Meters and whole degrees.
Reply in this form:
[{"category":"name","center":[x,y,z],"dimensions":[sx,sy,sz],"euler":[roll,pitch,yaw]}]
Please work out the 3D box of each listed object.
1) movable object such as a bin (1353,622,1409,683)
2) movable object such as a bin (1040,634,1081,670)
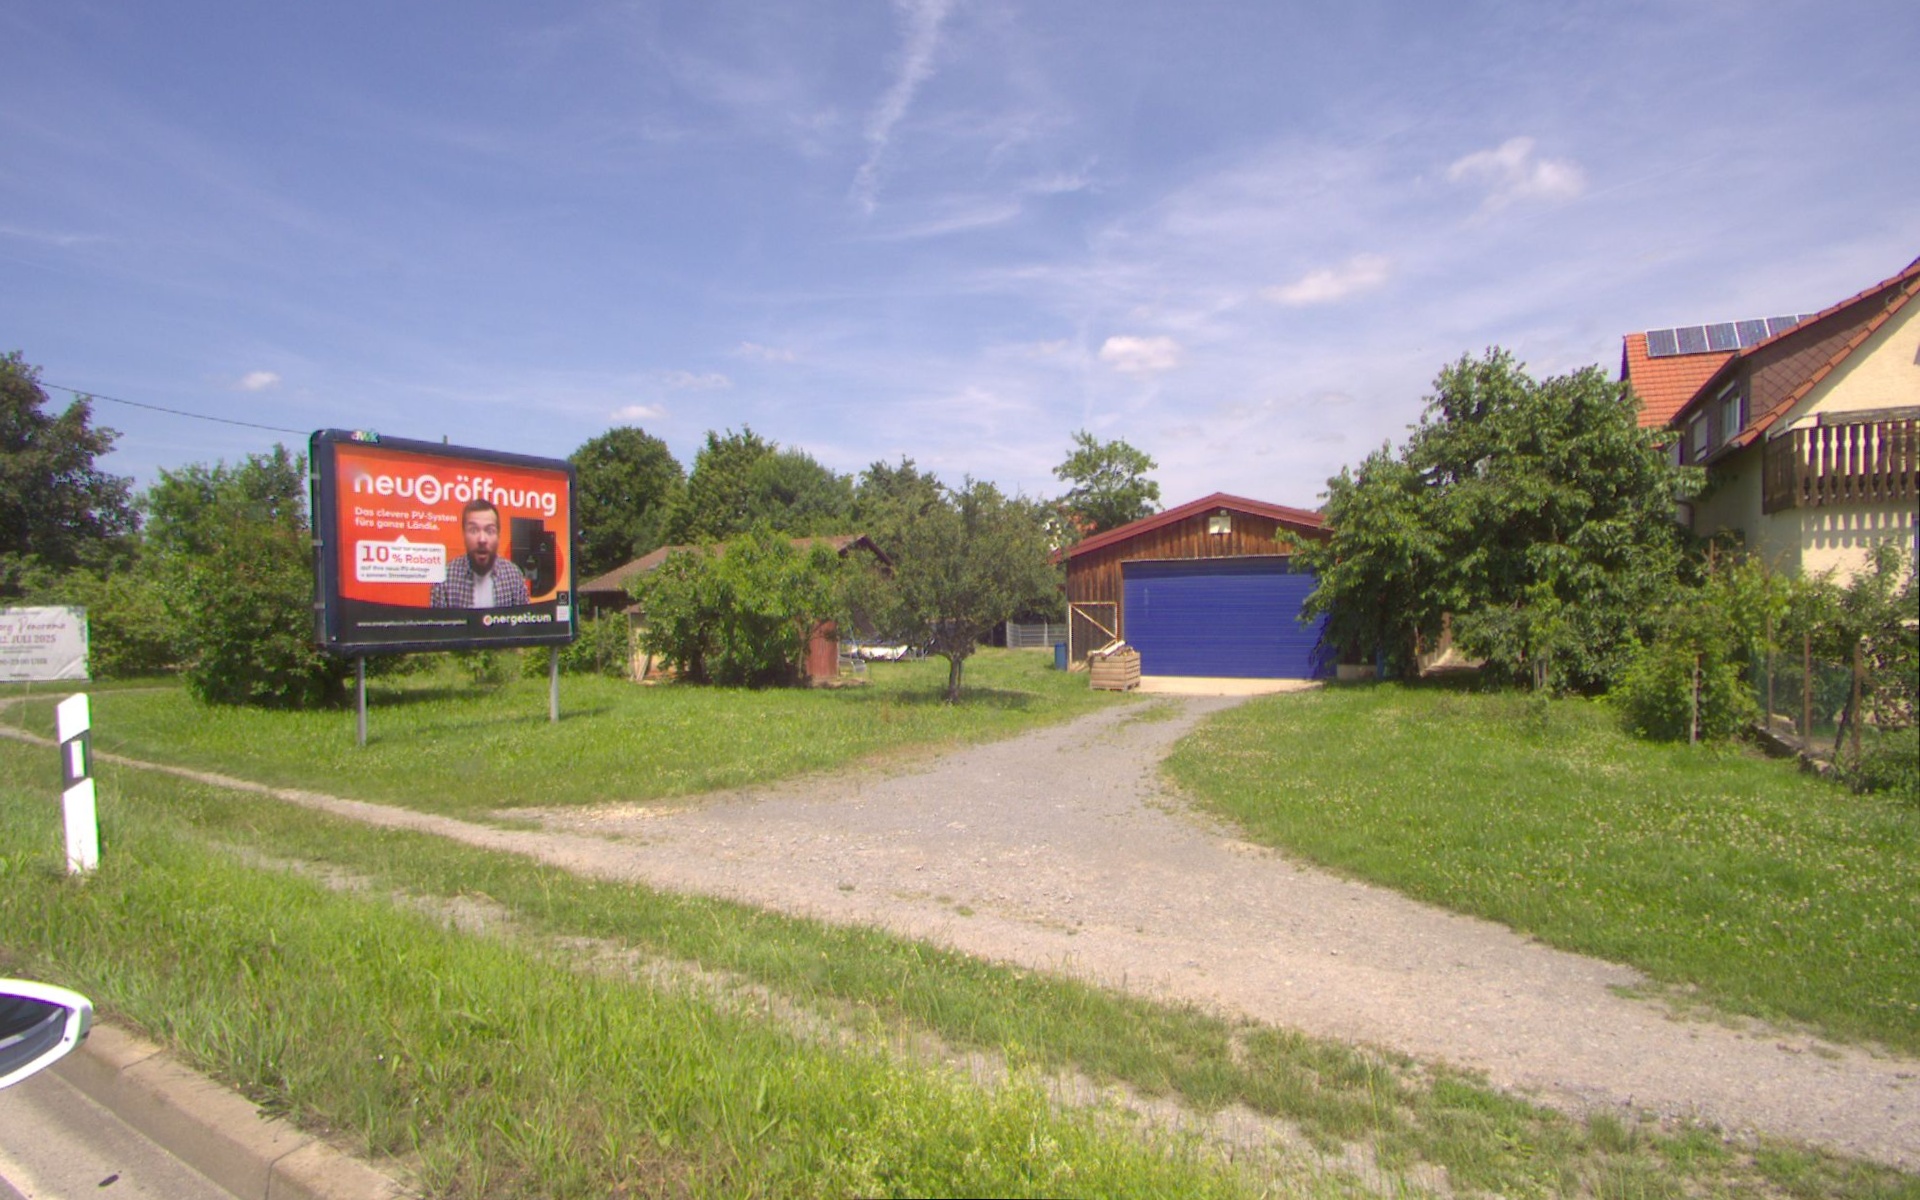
[{"category":"movable object such as a bin","center":[10.228,1.258,24.313],"dimensions":[1.049,1.415,1.271],"euler":[0,-1,33]},{"category":"movable object such as a bin","center":[3.054,1.575,30.324],"dimensions":[1.044,1.046,1.040],"euler":[0,-1,17]}]
